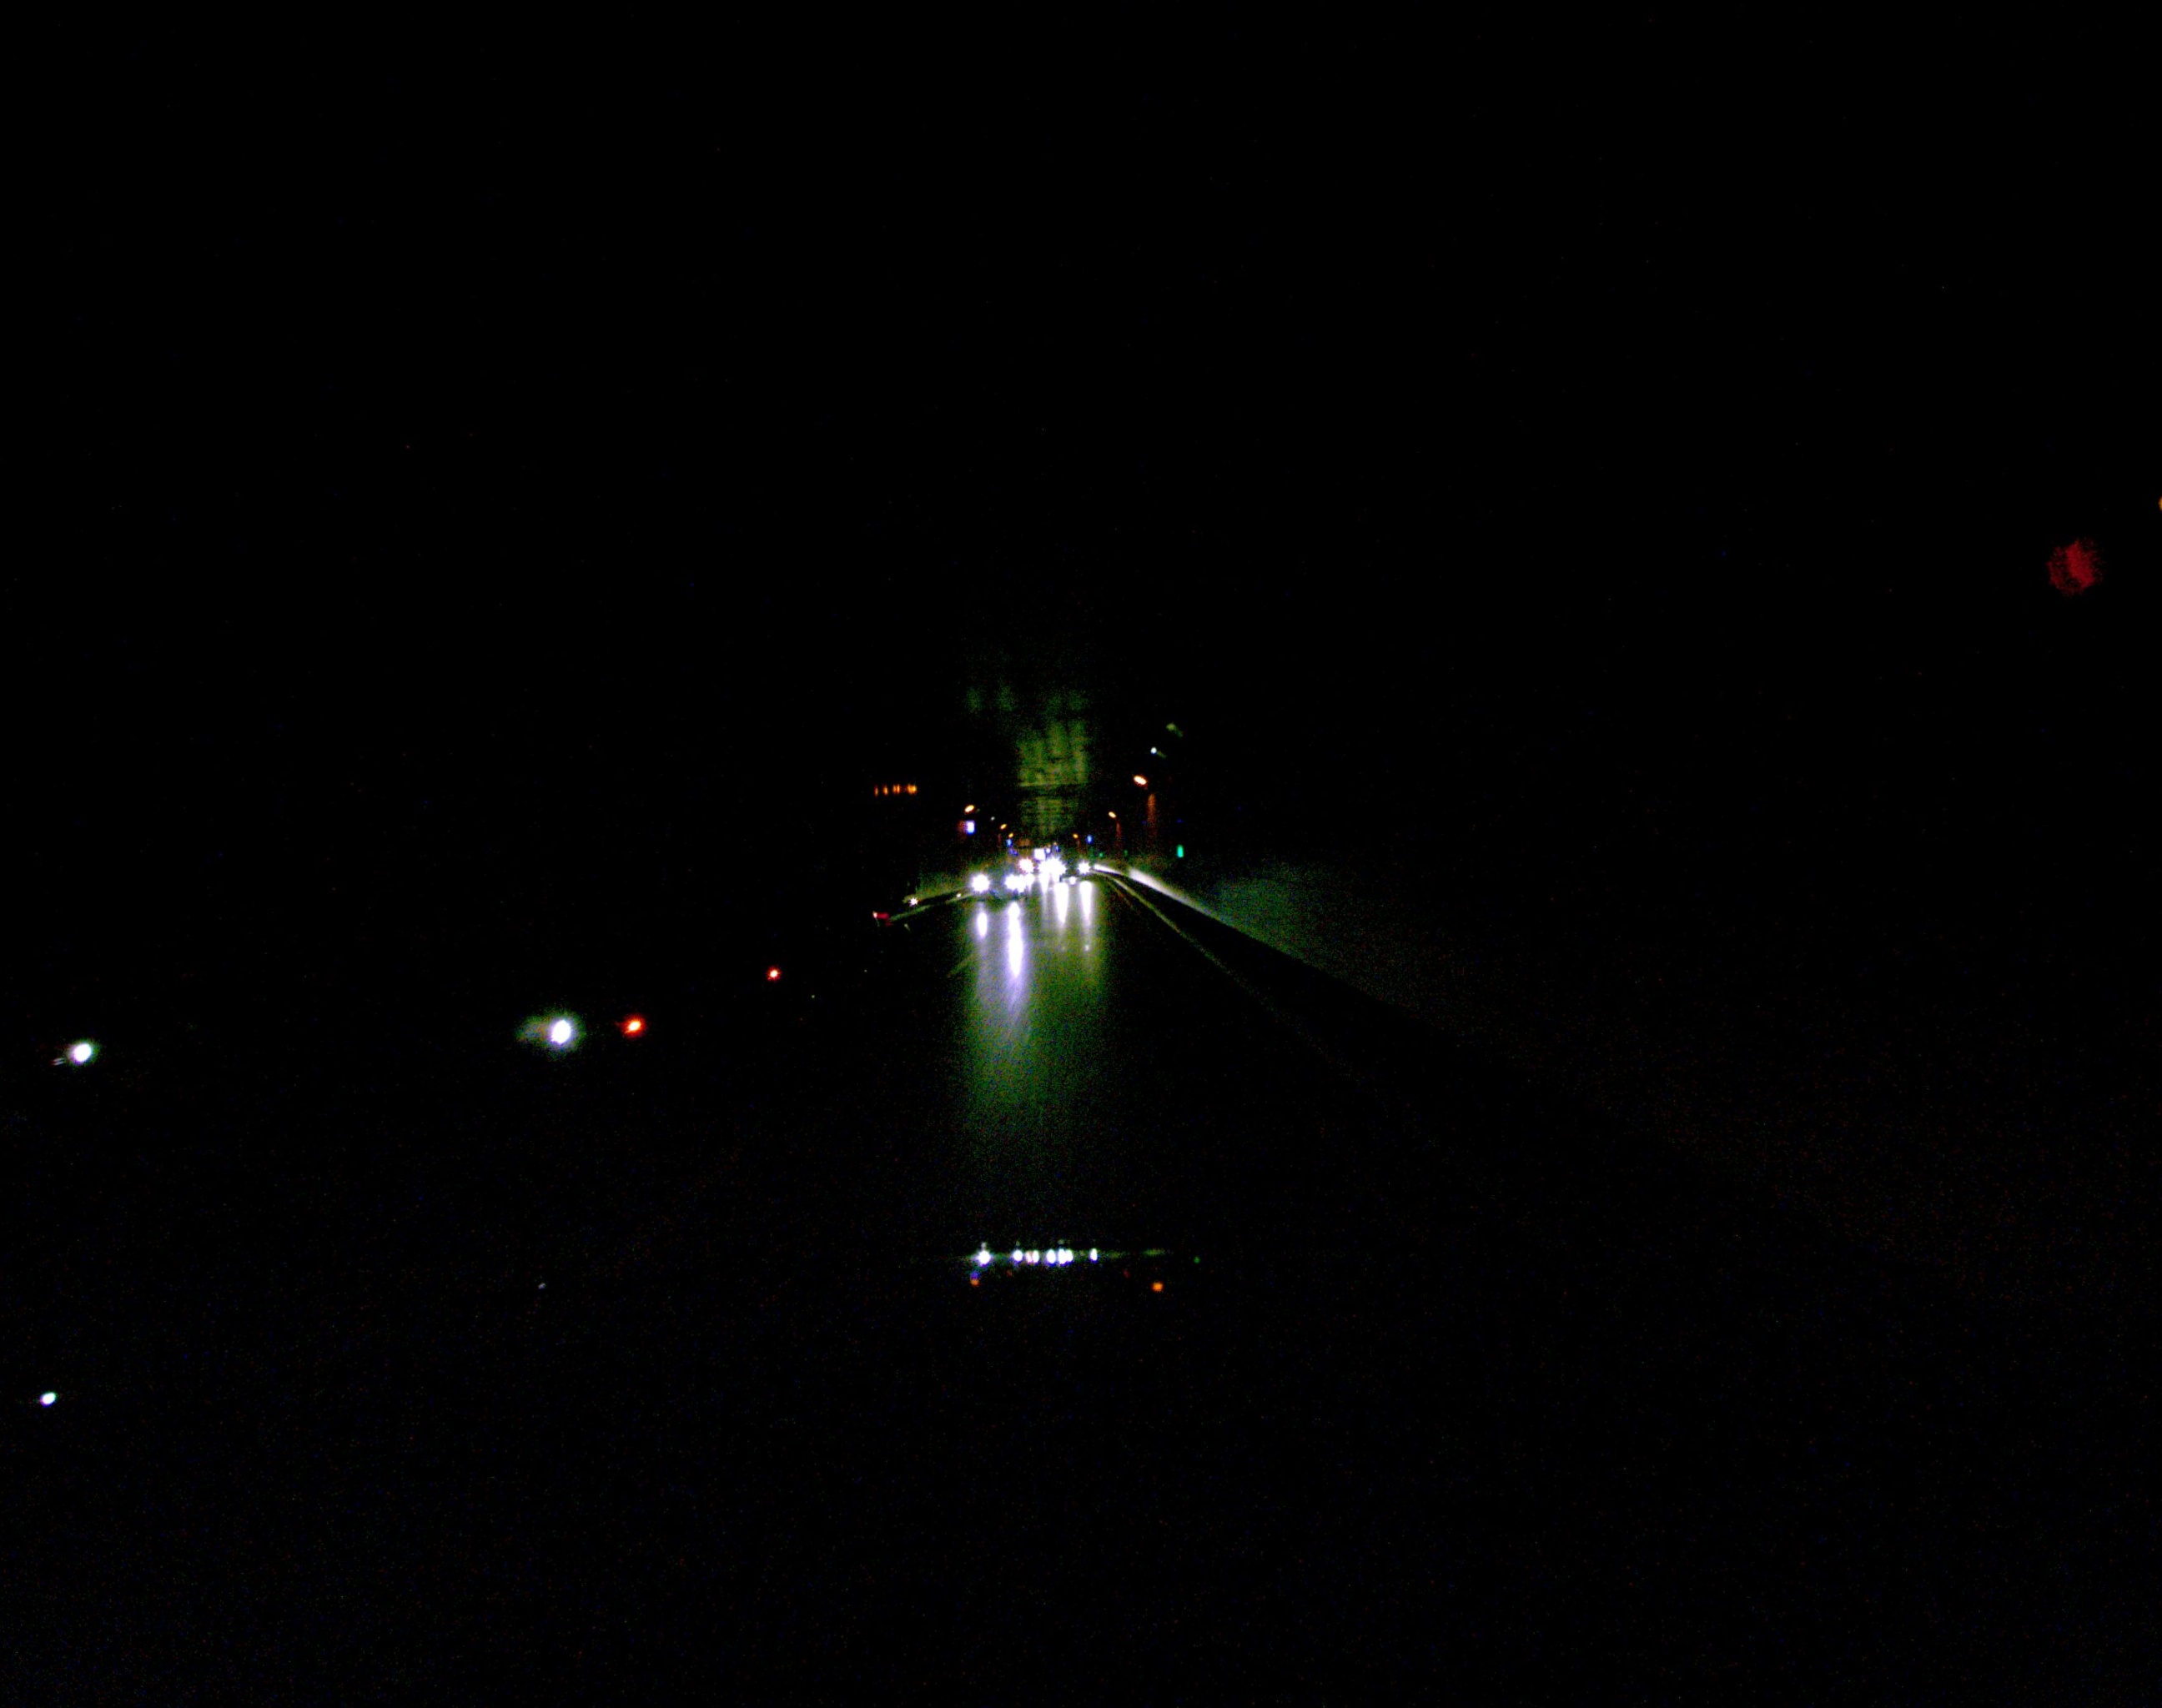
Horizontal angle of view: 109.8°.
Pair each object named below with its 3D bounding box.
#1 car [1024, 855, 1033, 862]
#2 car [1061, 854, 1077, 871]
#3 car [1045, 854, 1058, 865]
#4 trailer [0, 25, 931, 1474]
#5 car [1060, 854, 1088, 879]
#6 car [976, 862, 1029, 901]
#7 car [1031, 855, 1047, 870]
[{"bbox_3d":[-12.950,1.035,186.723,1.999,1.674,3.999,-2,1,-1],"label":"car"},{"bbox_3d":[-1.385,0.895,85.762,1.715,1.729,3.998,-2,2,-2],"label":"car"},{"bbox_3d":[-4.717,0.882,122.830,1.999,1.576,4.650,-2,0,-3],"label":"car"},{"bbox_3d":[-3.699,-0.213,6.498,2.882,3.835,8.947,-2,0,0],"label":"trailer"},{"bbox_3d":[-0.505,0.789,50.663,1.820,1.589,3.999,0,0,-2],"label":"car"},{"bbox_3d":[-3.188,1.093,31.482,1.735,1.395,3.798,-3,0,0],"label":"car"},{"bbox_3d":[-4.672,0.981,84.881,1.736,1.565,3.999,-3,0,-3],"label":"car"}]
